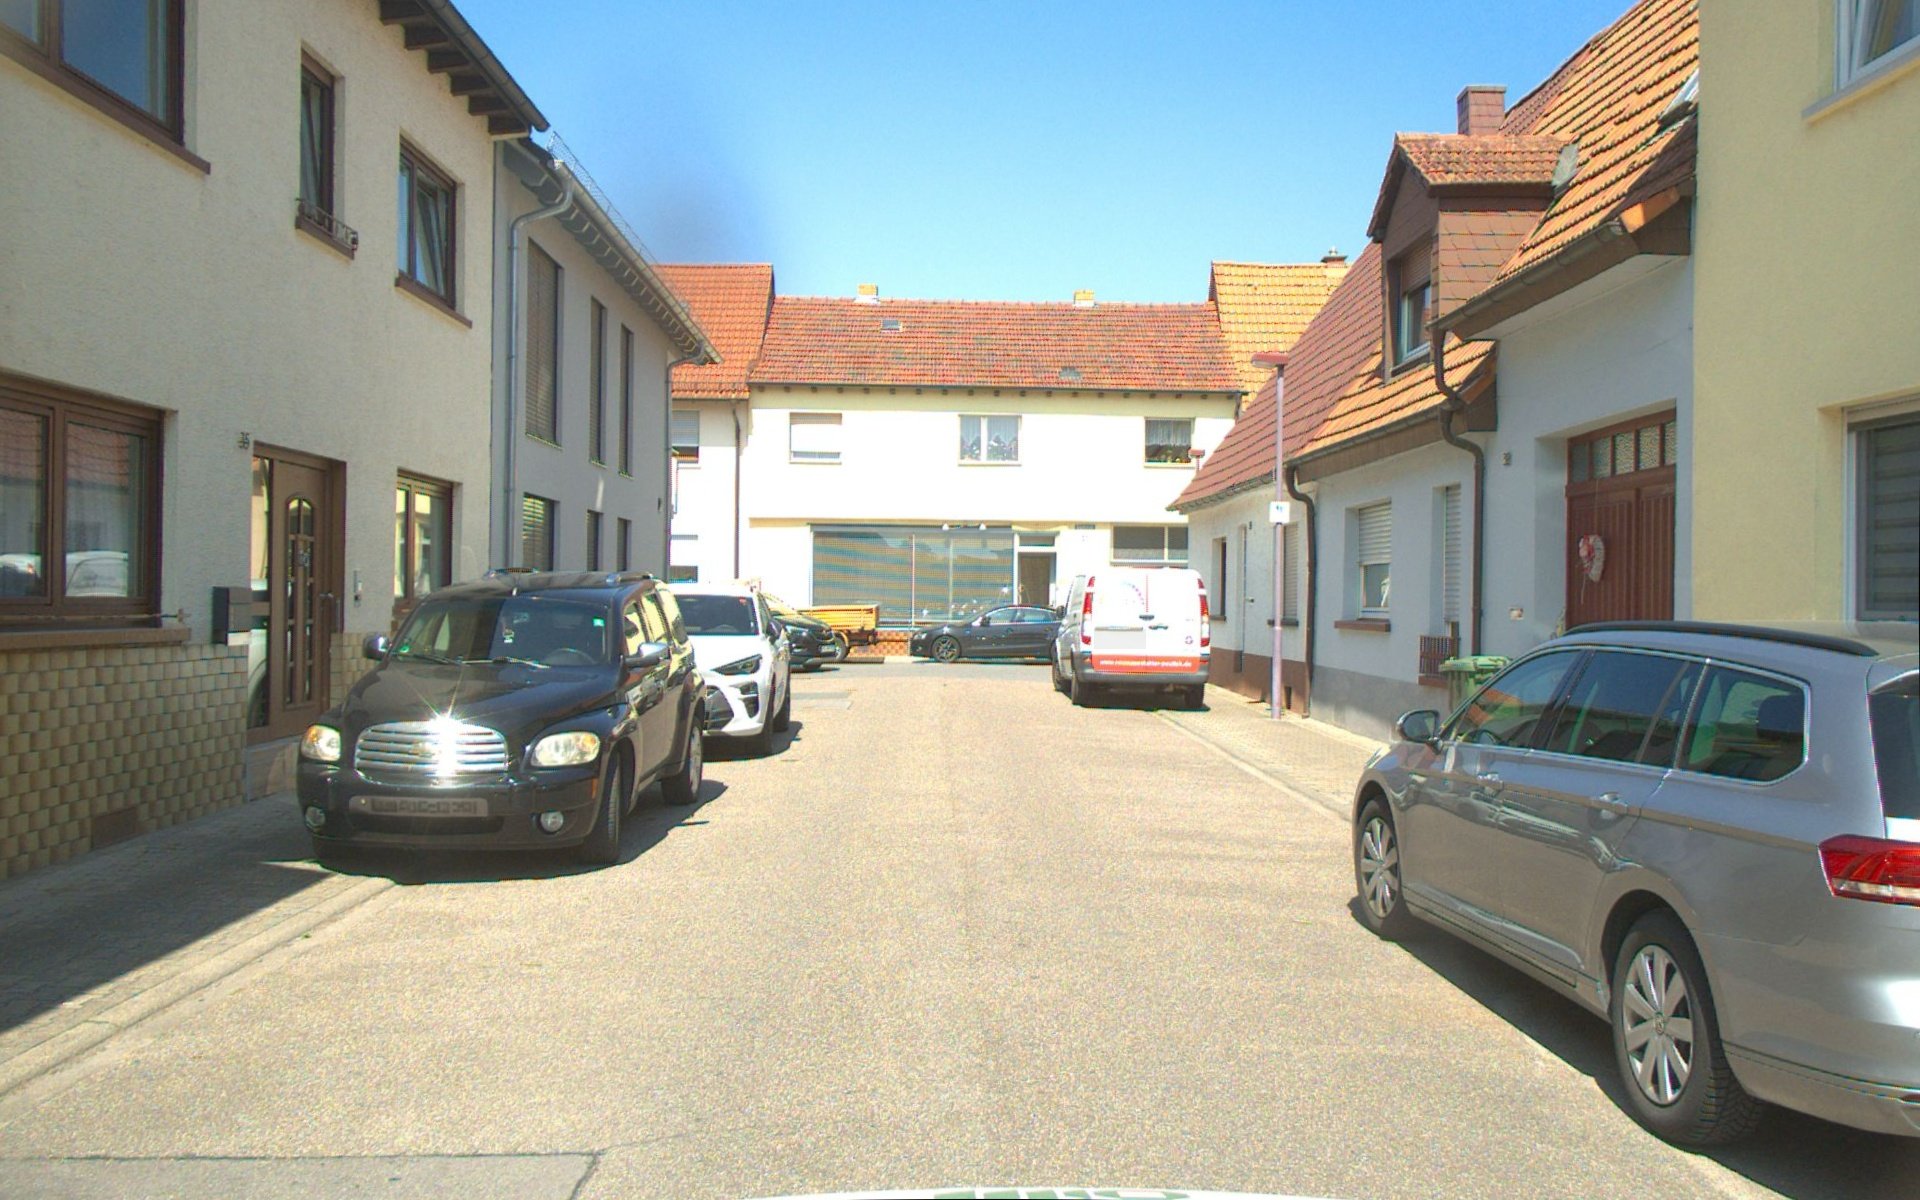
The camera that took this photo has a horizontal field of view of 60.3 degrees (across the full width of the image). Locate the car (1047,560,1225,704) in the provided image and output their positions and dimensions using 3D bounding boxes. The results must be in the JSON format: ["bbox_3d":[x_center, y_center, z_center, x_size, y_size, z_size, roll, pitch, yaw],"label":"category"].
[{"bbox_3d":[2.478,0.428,24.623,1.972,1.871,5.264,1,0,-1],"label":"car"}]

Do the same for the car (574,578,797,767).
[{"bbox_3d":[-2.635,0.637,16.774,1.739,1.643,4.346,-1,0,-3],"label":"car"}]

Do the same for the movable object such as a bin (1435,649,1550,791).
[{"bbox_3d":[4.305,0.955,13.416,0.645,1.090,0.812,0,0,-3],"label":"movable object such as a bin"}]

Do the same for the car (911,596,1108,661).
[{"bbox_3d":[1.123,0.694,38.952,4.524,1.419,1.927,1,-3,-3],"label":"car"}]

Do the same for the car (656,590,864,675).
[{"bbox_3d":[-4.136,0.639,33.963,4.195,1.610,1.755,-1,0,37],"label":"car"}]

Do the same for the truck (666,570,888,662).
[{"bbox_3d":[-4.219,0.373,38.806,4.960,2.049,2.189,1,-1,-1],"label":"truck"}]

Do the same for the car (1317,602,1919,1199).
[{"bbox_3d":[2.824,0.772,6.101,1.801,1.473,4.774,1,0,-2],"label":"car"}]

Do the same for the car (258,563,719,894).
[{"bbox_3d":[-2.665,0.645,10.330,1.687,1.643,3.989,-1,0,0],"label":"car"}]
